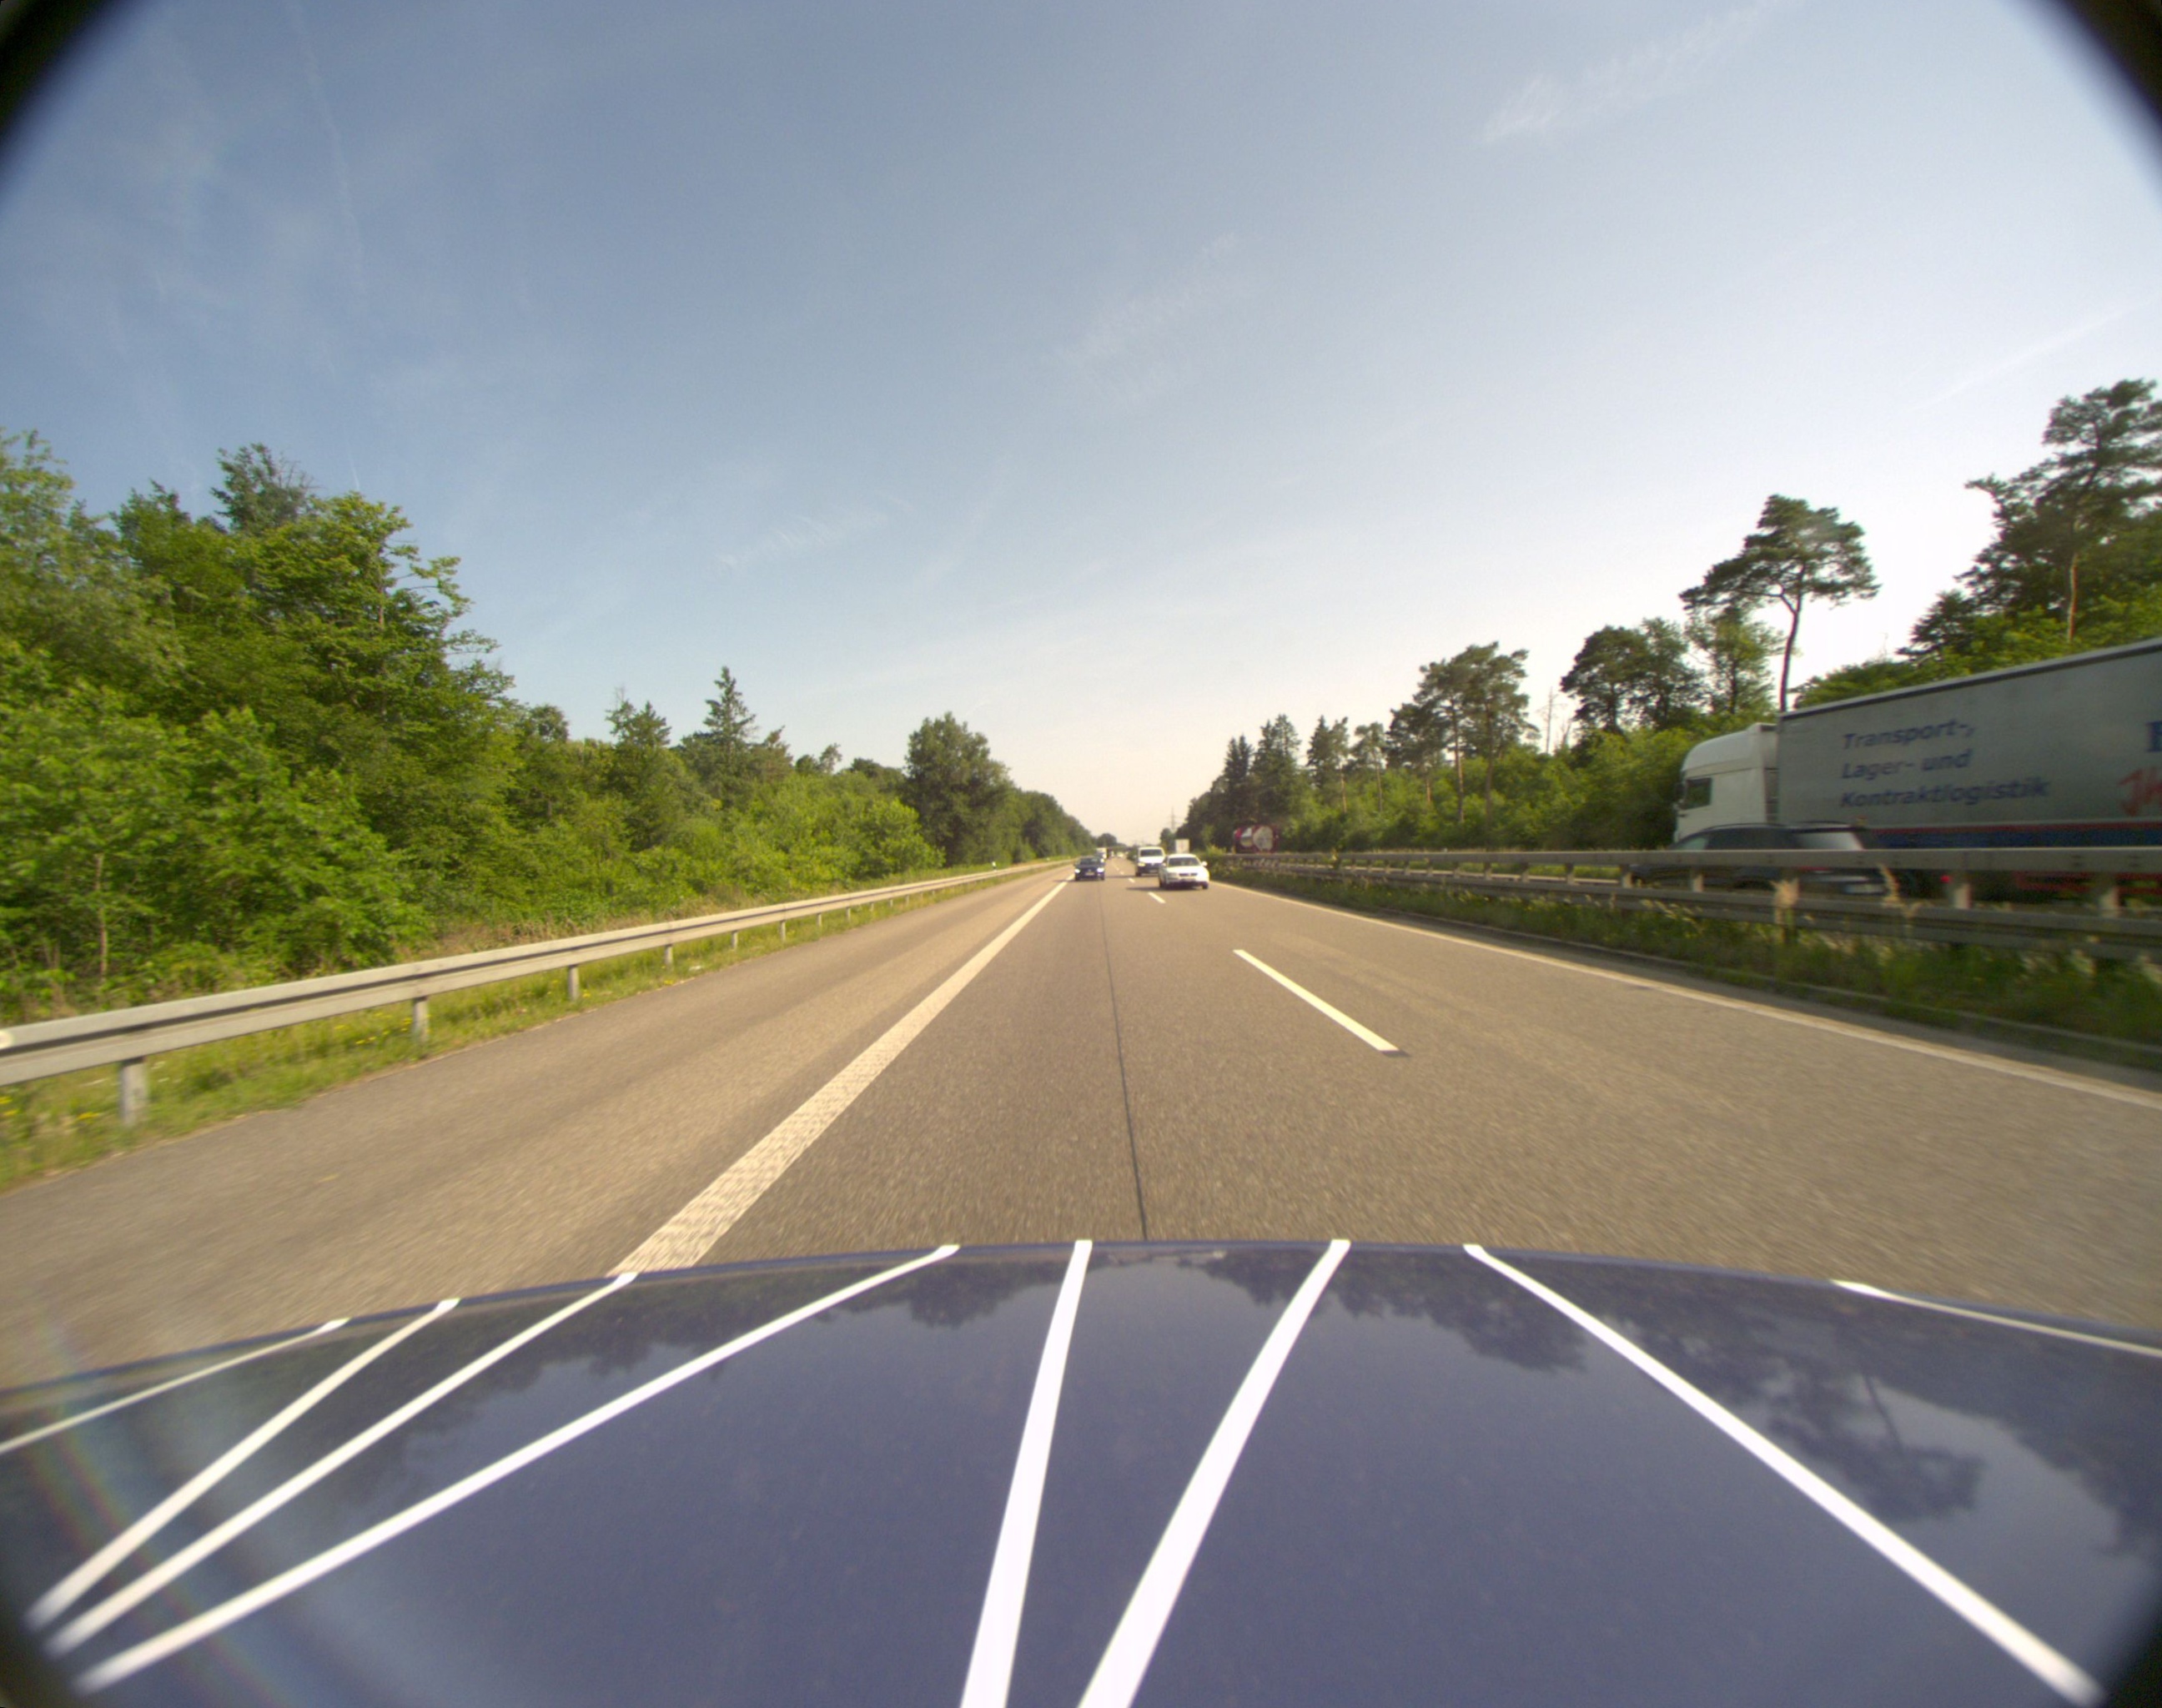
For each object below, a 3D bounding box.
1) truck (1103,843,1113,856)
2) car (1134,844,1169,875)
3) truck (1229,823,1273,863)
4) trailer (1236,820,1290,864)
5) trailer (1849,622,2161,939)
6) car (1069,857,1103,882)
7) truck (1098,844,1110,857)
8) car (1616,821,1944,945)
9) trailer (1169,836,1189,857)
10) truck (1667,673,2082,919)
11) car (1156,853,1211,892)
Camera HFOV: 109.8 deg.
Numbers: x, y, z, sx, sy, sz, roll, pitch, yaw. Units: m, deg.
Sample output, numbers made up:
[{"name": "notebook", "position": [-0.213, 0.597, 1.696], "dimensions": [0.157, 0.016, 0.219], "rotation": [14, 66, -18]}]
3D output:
[{"name": "truck", "position": [8.695, -1.407, 243.933], "dimensions": [2.694, 4.061, 12.365], "rotation": [-2, 0, 1]}, {"name": "car", "position": [4.657, 0.349, 50.817], "dimensions": [1.912, 1.934, 4.706], "rotation": [-2, 0, 0]}, {"name": "truck", "position": [18.054, -1.199, 81.156], "dimensions": [3.275, 4.016, 6.232], "rotation": [-2, 1, 0]}, {"name": "trailer", "position": [18.037, -1.147, 75.899], "dimensions": [3.303, 4.016, 8.372], "rotation": [-2, 1, 0]}, {"name": "trailer", "position": [15.704, -0.984, 7.949], "dimensions": [2.840, 4.184, 12.410], "rotation": [-1, 0, 0]}, {"name": "car", "position": [0.309, 0.841, 43.254], "dimensions": [1.788, 1.285, 3.539], "rotation": [-2, 0, 2]}, {"name": "truck", "position": [5.665, -0.768, 188.056], "dimensions": [2.694, 3.020, 10.372], "rotation": [-2, 0, 1]}, {"name": "car", "position": [11.230, 0.393, 12.698], "dimensions": [1.690, 1.679, 4.168], "rotation": [-2, 0, 1]}, {"name": "trailer", "position": [19.789, -1.482, 153.780], "dimensions": [2.698, 4.176, 13.080], "rotation": [-1, 0, 1]}, {"name": "truck", "position": [15.734, -0.996, 15.788], "dimensions": [2.845, 4.171, 5.546], "rotation": [-1, 0, 0]}, {"name": "car", "position": [4.261, 0.717, 32.342], "dimensions": [1.754, 1.477, 5.264], "rotation": [-2, 0, 2]}]
